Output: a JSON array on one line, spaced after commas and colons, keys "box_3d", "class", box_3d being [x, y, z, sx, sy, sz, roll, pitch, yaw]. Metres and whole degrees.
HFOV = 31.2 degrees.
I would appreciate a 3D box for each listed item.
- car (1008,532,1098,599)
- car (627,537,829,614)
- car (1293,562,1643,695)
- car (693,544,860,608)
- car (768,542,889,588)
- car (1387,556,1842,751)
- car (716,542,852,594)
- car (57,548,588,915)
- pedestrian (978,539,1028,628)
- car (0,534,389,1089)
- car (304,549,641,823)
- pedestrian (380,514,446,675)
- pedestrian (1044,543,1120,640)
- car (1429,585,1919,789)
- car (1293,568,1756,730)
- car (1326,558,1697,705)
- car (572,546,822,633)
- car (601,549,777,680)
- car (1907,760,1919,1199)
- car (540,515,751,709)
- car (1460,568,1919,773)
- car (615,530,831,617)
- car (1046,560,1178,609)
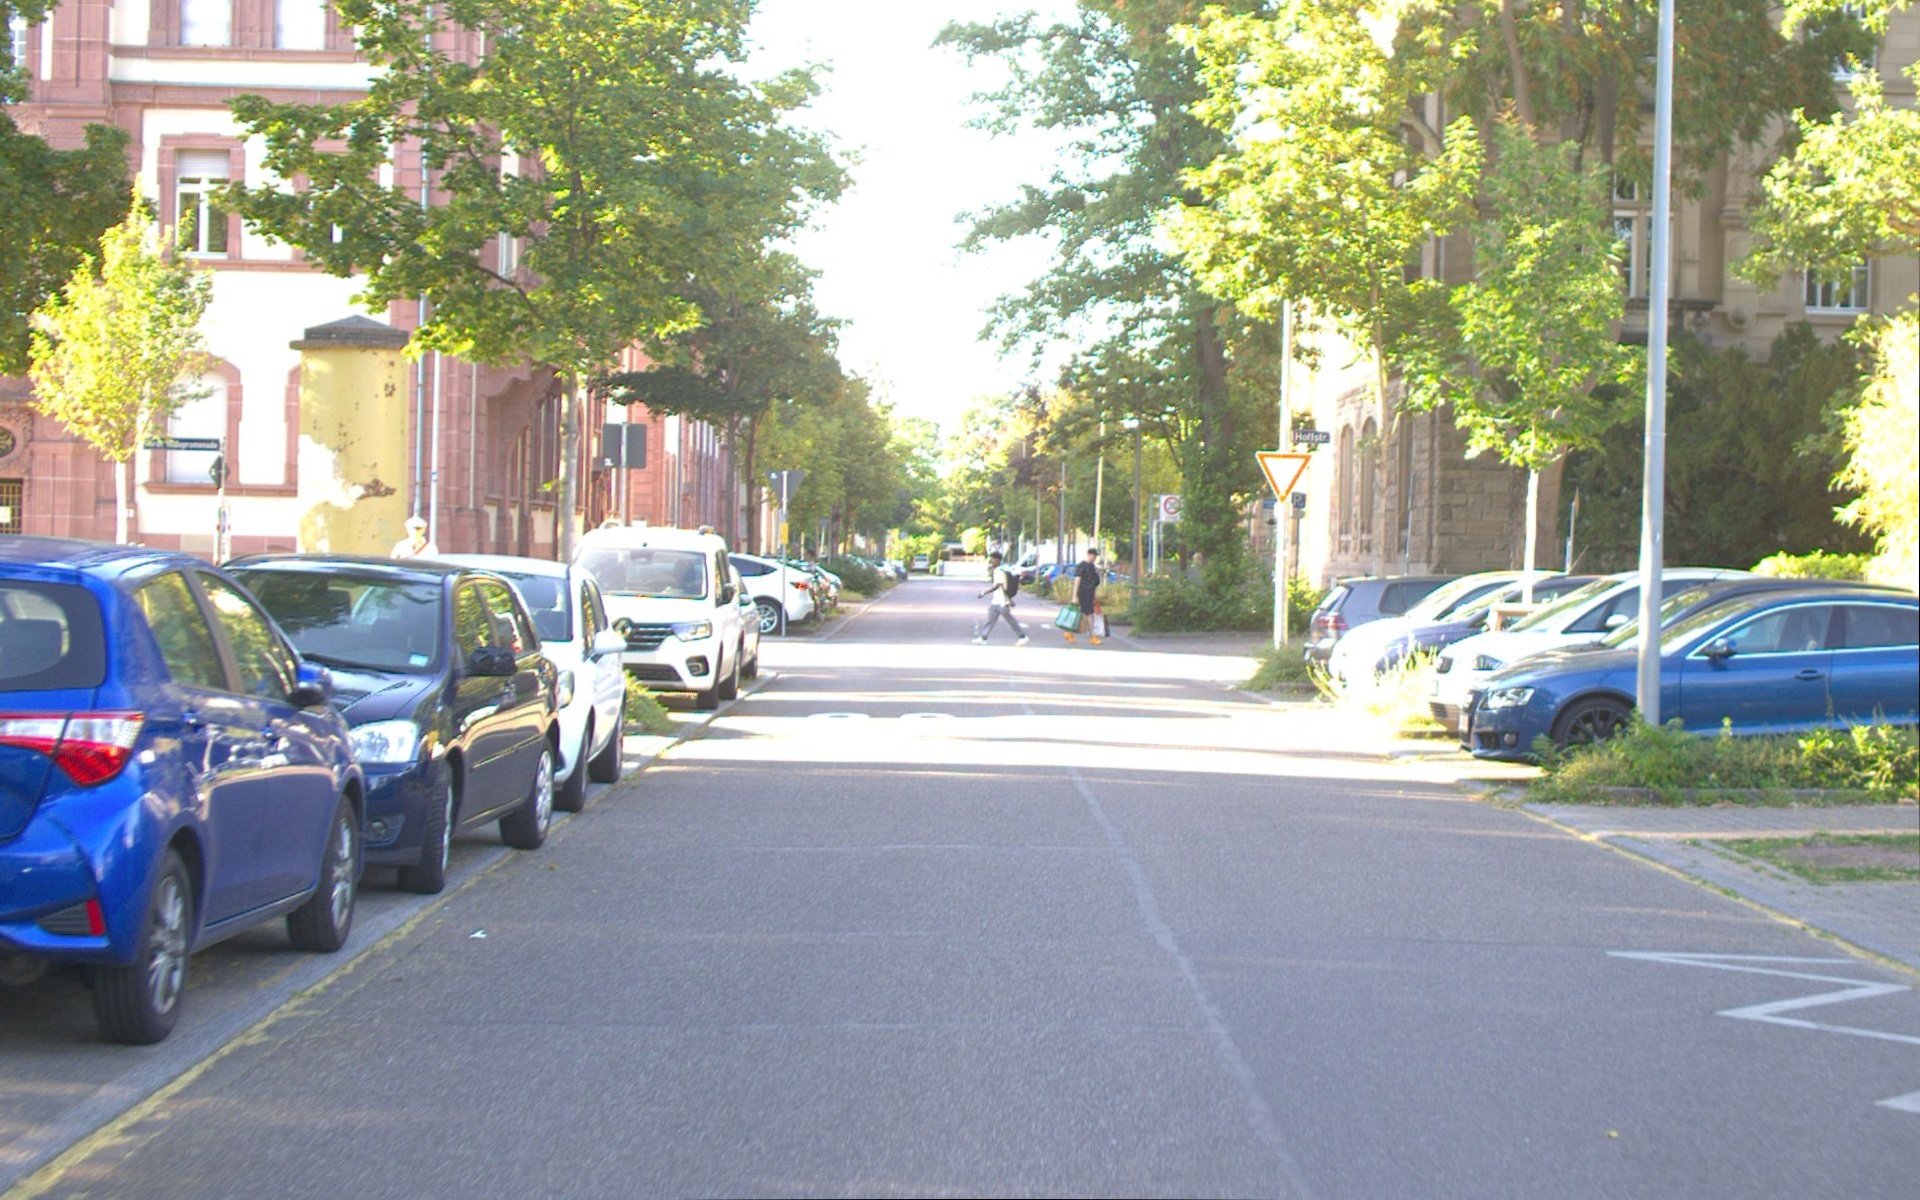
[{"box_3d": [5.252, -1.952, 194.402, 4.886, 3.605, 1.842, 2, 1, -1], "class": "car"}, {"box_3d": [-5.234, -0.564, 78.073, 4.482, 1.602, 1.842, 2, 1, -2], "class": "car"}, {"box_3d": [6.062, 0.353, 41.387, 3.954, 1.511, 1.873, 1, -1, 2], "class": "car"}, {"box_3d": [-5.021, -0.661, 94.208, 4.482, 1.602, 1.842, 2, 1, -2], "class": "car"}, {"box_3d": [-4.957, -1.322, 129.637, 4.482, 1.602, 1.842, 2, 1, -2], "class": "car"}, {"box_3d": [5.709, 0.455, 30.193, 3.492, 1.579, 1.762, 1, 1, -10], "class": "car"}, {"box_3d": [-5.874, -1.089, 115.346, 4.482, 1.602, 1.842, 2, 1, -2], "class": "car"}, {"box_3d": [-2.881, 0.519, 16.336, 1.552, 1.489, 3.942, 2, 1, 3], "class": "car"}, {"box_3d": [0.776, -0.293, 62.508, 0.784, 1.601, 0.720, 1, -1, -6], "class": "pedestrian"}, {"box_3d": [-3.107, 0.555, 11.519, 1.638, 1.490, 3.705, 3, 1, 1], "class": "car"}, {"box_3d": [-2.970, 0.462, 21.606, 1.592, 1.521, 3.865, 1, 1, -1], "class": "car"}, {"box_3d": [-6.142, -0.070, 38.623, 0.599, 1.778, 0.946, 1, 1, -3], "class": "pedestrian"}, {"box_3d": [2.388, -0.172, 67.485, 1.060, 1.851, 1.002, 1, 1, -31], "class": "pedestrian"}, {"box_3d": [5.861, 0.615, 25.242, 4.589, 1.410, 1.922, -1, 0, 1], "class": "car"}, {"box_3d": [5.898, 0.494, 36.262, 4.490, 1.544, 1.891, 1, 1, -3], "class": "car"}, {"box_3d": [6.174, 0.336, 38.813, 3.954, 1.511, 1.674, 1, 1, 3], "class": "car"}, {"box_3d": [-5.202, -0.222, 68.368, 4.842, 1.588, 1.842, 1, 1, -2], "class": "car"}, {"box_3d": [-3.339, 0.139, 43.134, 1.781, 1.500, 4.553, 2, 1, 0], "class": "car"}, {"box_3d": [2.816, 0.502, 3.832, 1.952, 2.007, 5.154, 2, 1, -1], "class": "car"}, {"box_3d": [-3.190, 0.080, 35.641, 1.781, 1.834, 4.553, 1, 1, -1], "class": "car"}, {"box_3d": [6.069, 0.548, 27.815, 3.680, 1.518, 1.792, 1, 1, -3], "class": "car"}, {"box_3d": [-5.003, -0.572, 73.128, 4.482, 1.711, 1.842, 1, 1, -2], "class": "car"}, {"box_3d": [5.342, -0.557, 121.328, 4.482, 1.602, 1.842, 2, 1, -2], "class": "car"}]
